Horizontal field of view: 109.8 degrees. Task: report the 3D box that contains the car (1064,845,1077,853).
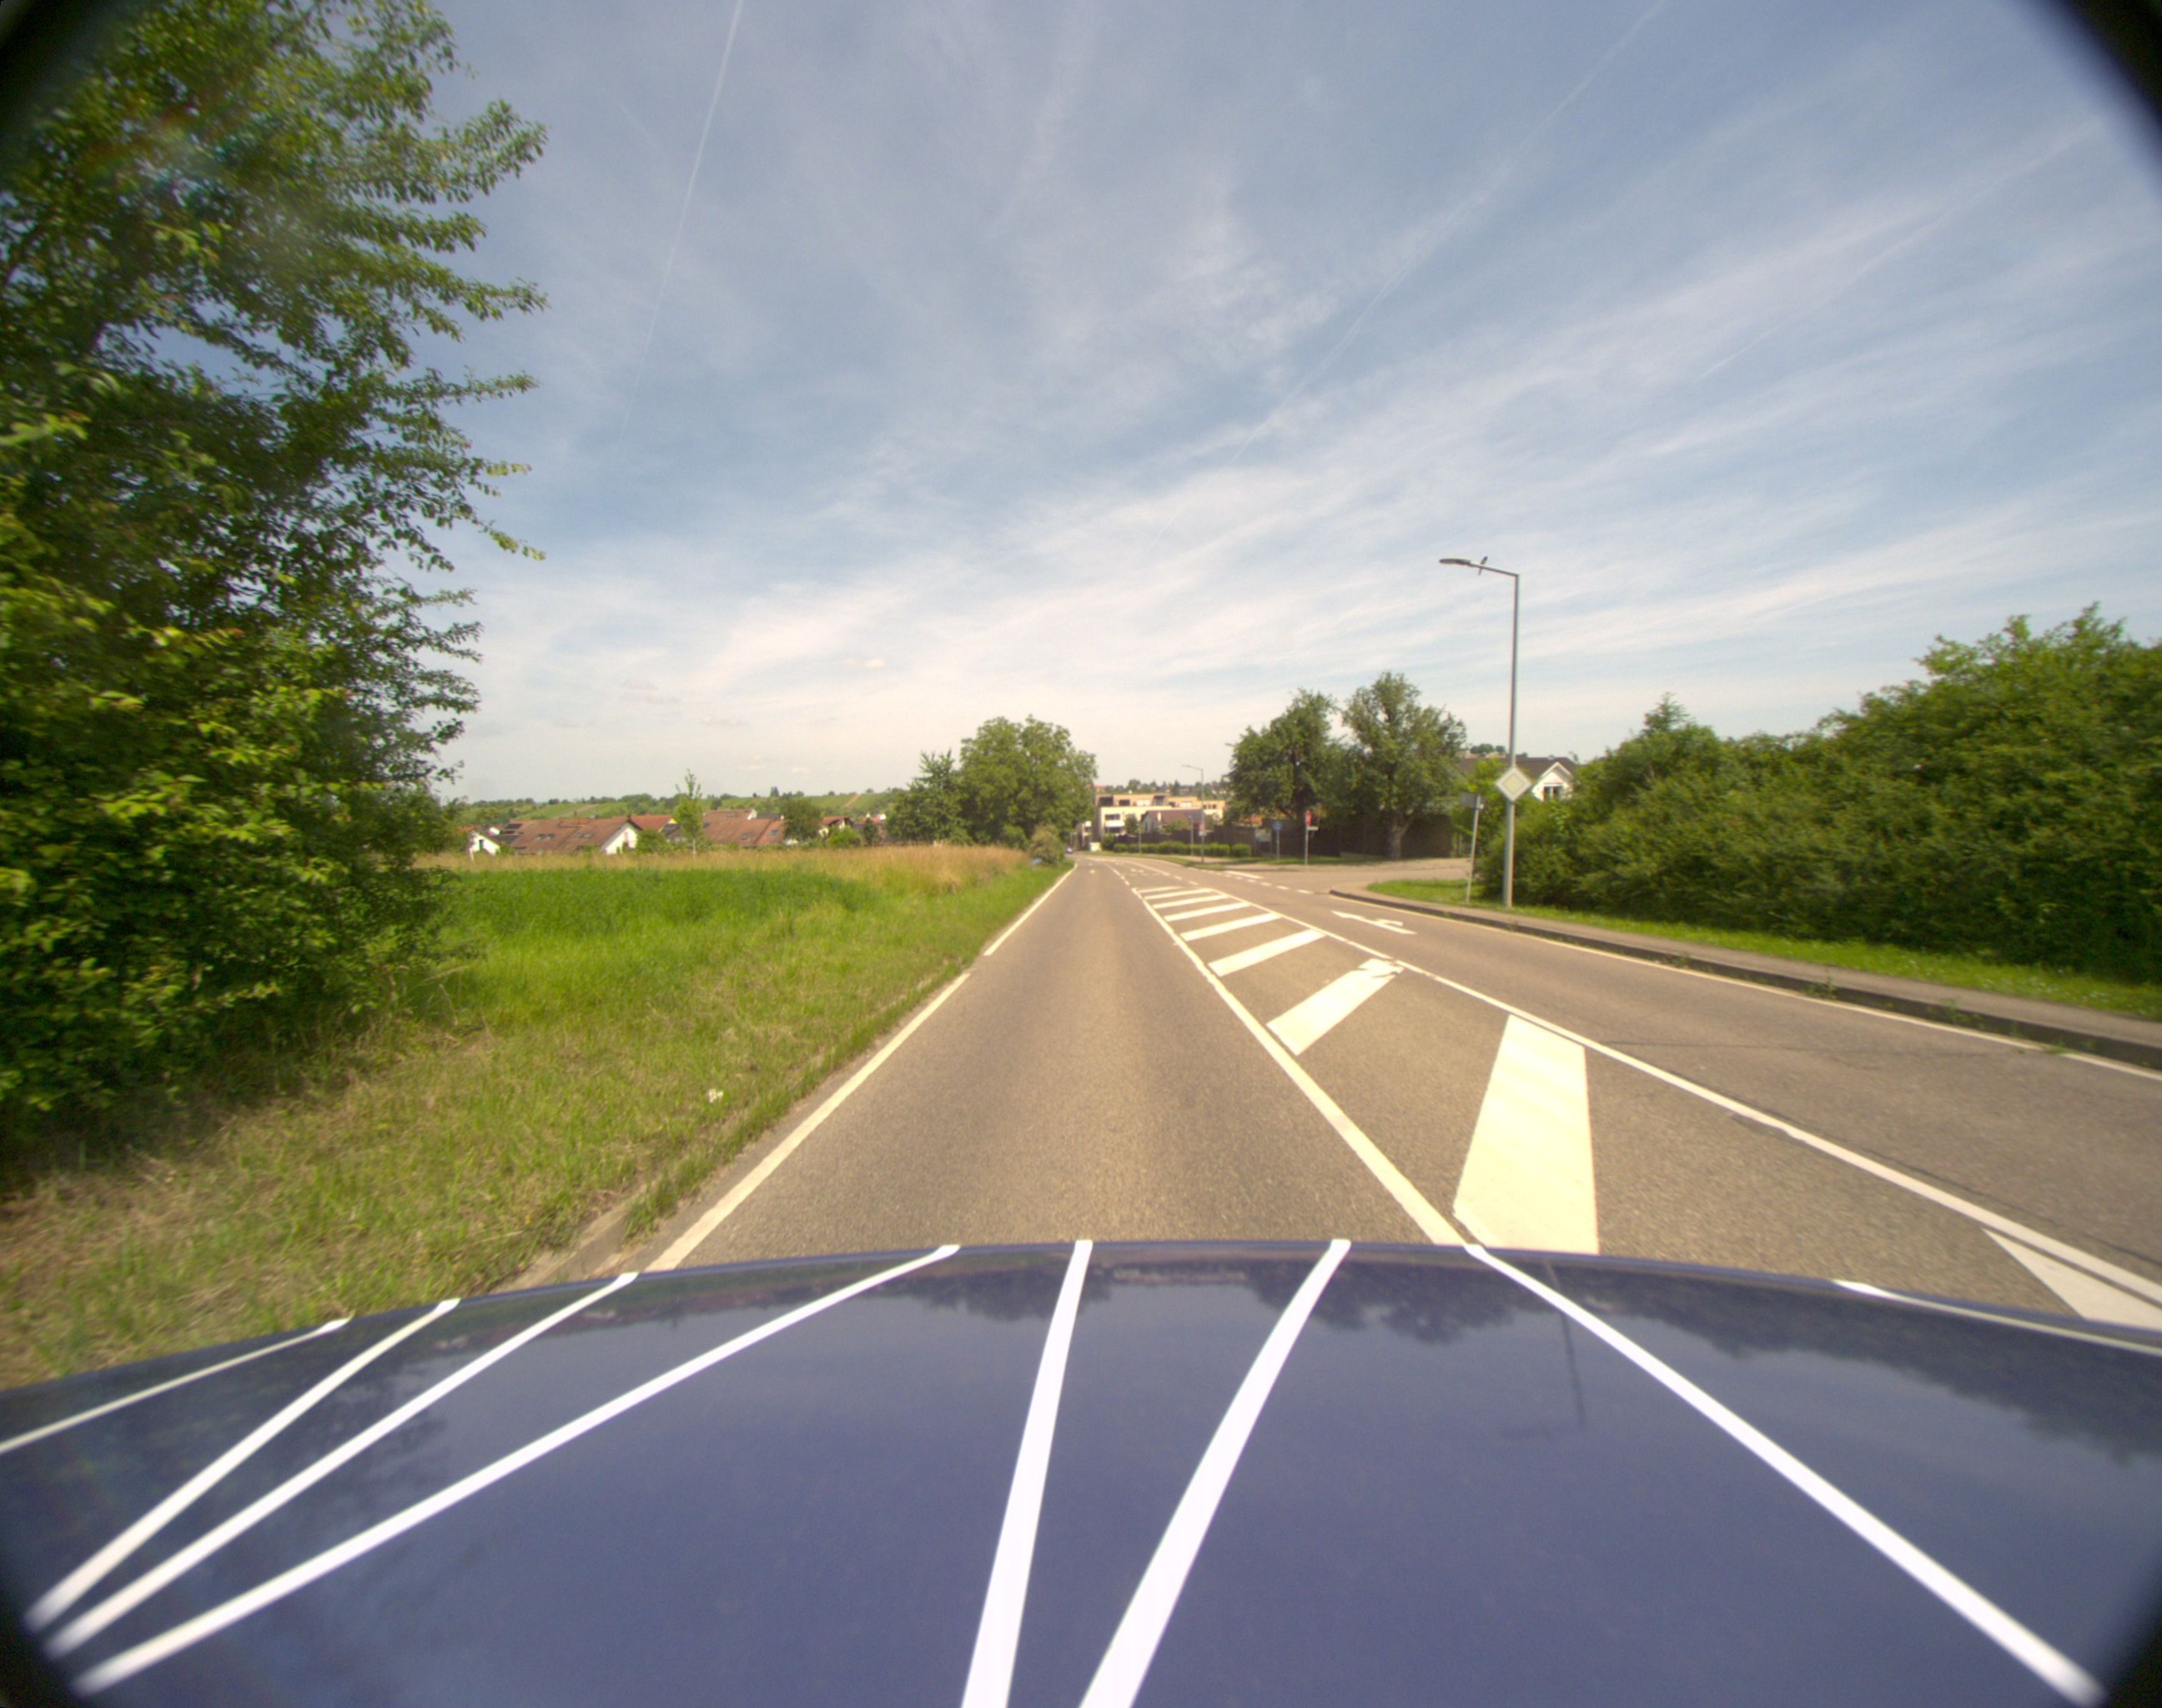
[{"bbox_3d":[-2.025,-0.985,150.302,1.614,1.483,3.843,-1,0,-16],"label":"car"}]
